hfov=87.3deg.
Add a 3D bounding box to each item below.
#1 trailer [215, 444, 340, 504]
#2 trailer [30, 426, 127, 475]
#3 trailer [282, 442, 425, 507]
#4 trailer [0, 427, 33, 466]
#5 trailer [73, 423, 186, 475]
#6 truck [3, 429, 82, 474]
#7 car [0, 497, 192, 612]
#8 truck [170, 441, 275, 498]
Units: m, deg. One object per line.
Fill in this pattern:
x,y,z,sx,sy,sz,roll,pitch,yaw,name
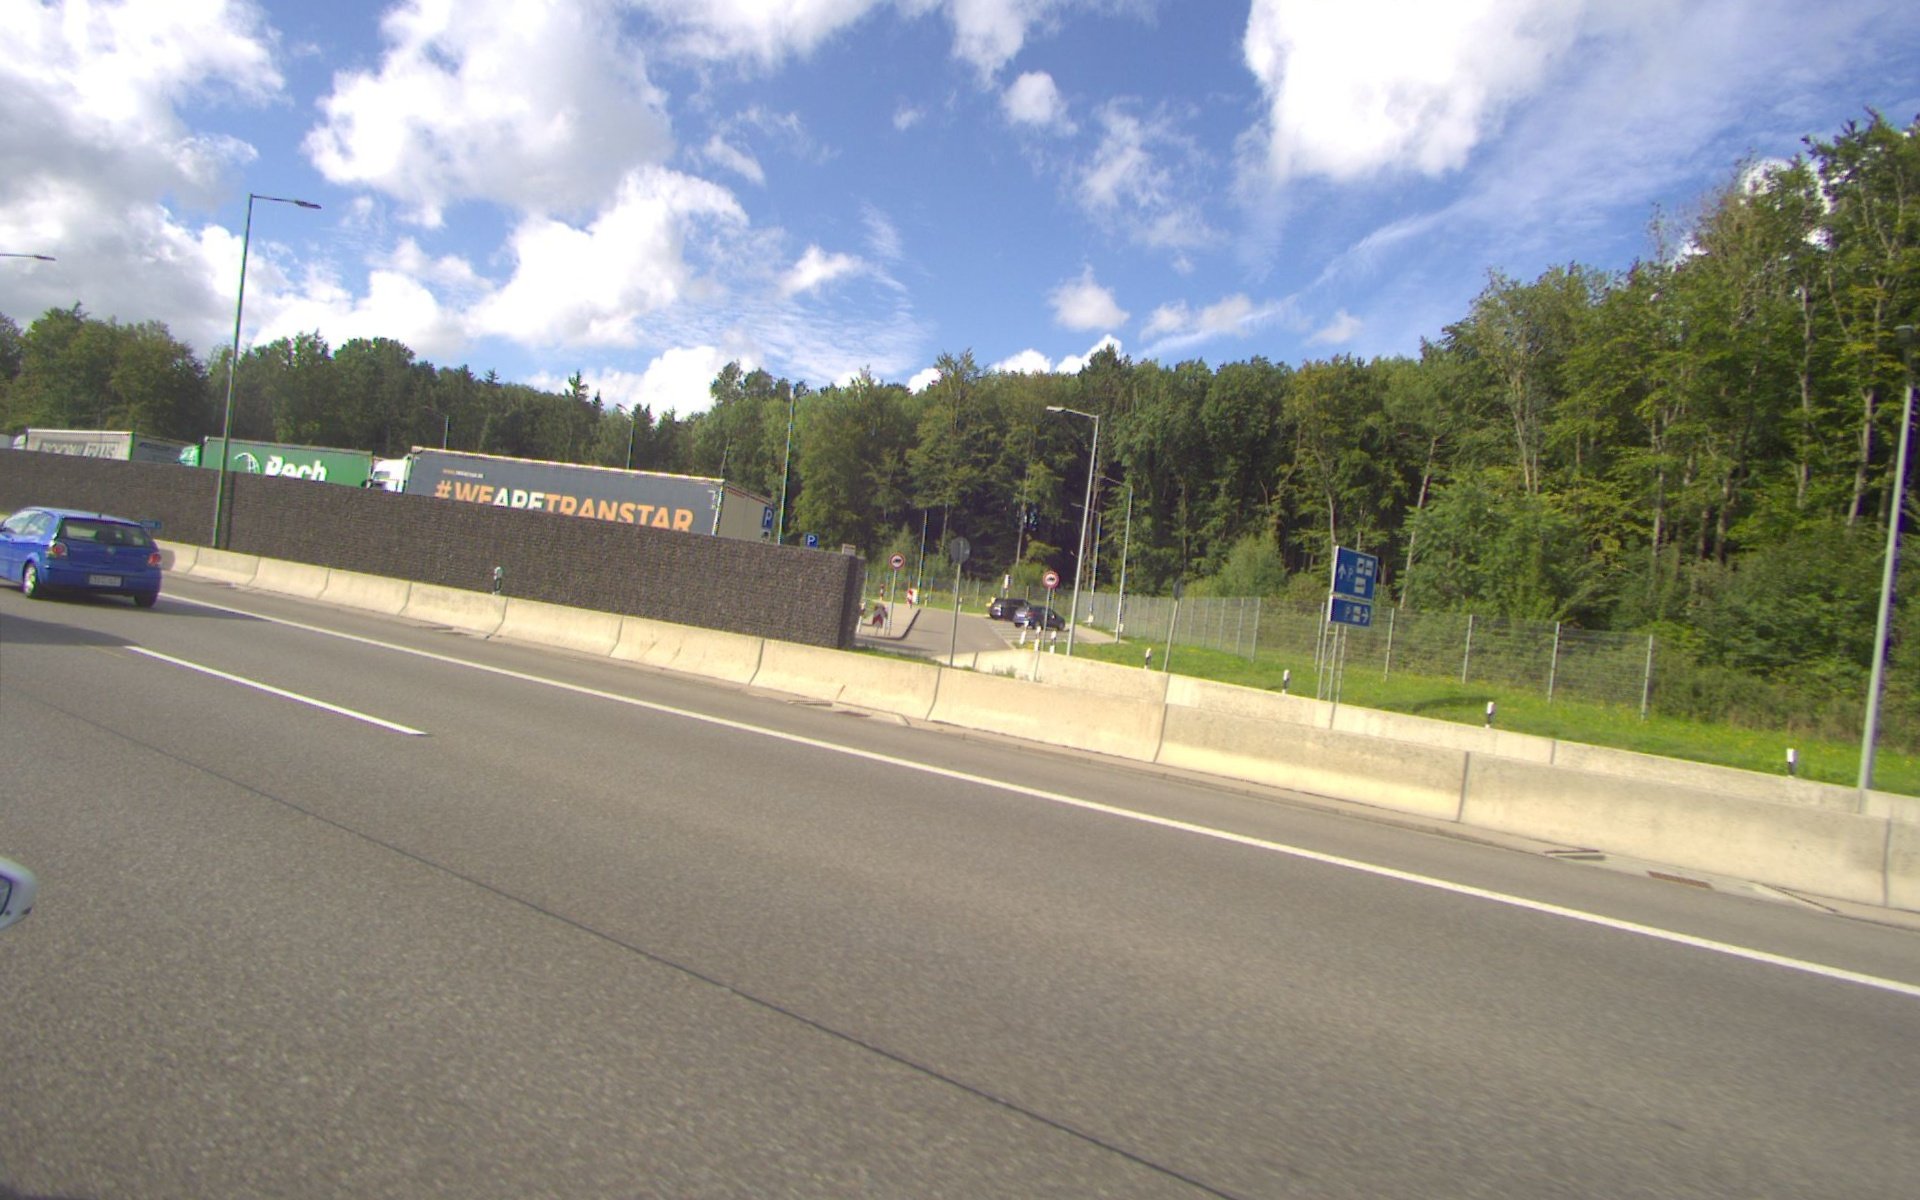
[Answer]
-28.667,-5.281,42.178,5.680,2.037,1.997,5,-3,31,trailer
-46.504,-7.833,53.031,5.907,2.037,2.049,5,-3,31,trailer
-23.663,-4.864,39.173,6.091,2.037,1.997,5,-3,31,trailer
-58.834,-9.407,60.980,6.216,2.038,2.133,7,0,31,trailer
-41.074,-7.408,49.691,6.850,2.037,2.055,5,-3,31,trailer
-50.711,-8.164,55.591,4.029,2.037,2.049,5,-3,31,truck
-14.897,-0.808,16.726,4.228,1.529,1.718,5,-1,29,car
-32.900,-5.787,44.847,4.704,2.037,2.049,4,-3,32,truck
